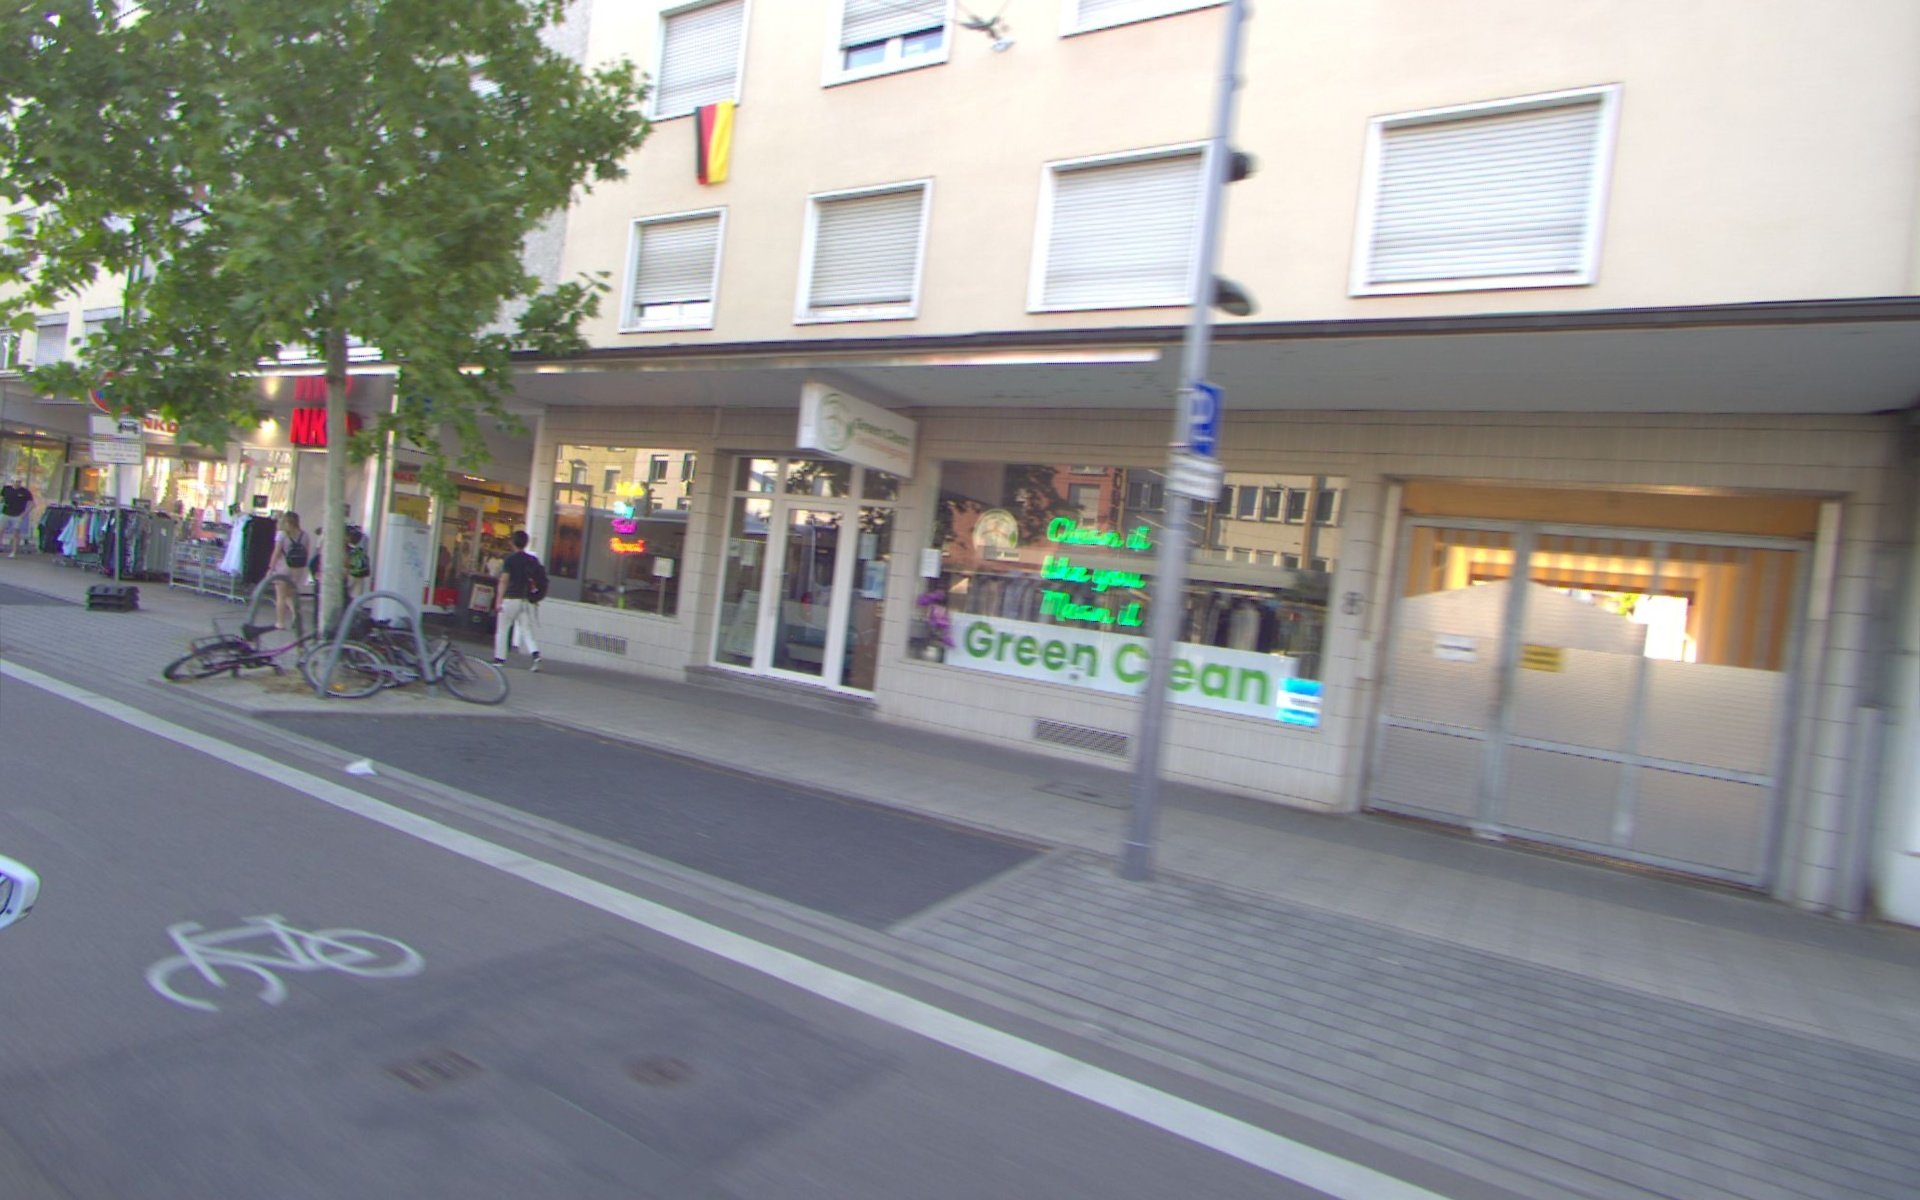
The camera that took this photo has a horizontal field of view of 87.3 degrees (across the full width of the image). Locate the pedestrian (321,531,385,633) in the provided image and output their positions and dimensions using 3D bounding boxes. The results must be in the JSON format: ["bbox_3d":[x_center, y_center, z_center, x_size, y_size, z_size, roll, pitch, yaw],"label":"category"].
[{"bbox_3d":[-8.881,-0.267,14.727,0.601,1.412,0.475,7,1,31],"label":"pedestrian"}]

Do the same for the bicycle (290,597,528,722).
[{"bbox_3d":[-5.033,0.494,9.317,0.780,0.955,1.783,6,4,27],"label":"bicycle"}]

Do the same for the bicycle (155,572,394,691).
[{"bbox_3d":[-6.610,0.259,9.857,0.927,0.636,1.785,-30,2,2],"label":"bicycle"}]

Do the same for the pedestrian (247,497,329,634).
[{"bbox_3d":[-9.409,-0.475,14.089,0.754,1.818,0.565,7,1,32],"label":"pedestrian"}]

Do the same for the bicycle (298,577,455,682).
[{"bbox_3d":[-5.853,0.287,10.209,0.641,0.954,1.695,-2,0,-3],"label":"bicycle"}]

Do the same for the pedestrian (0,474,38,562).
[{"bbox_3d":[-20.536,-1.778,21.728,0.754,1.820,0.723,7,4,31],"label":"pedestrian"}]

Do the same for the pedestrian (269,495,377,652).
[{"bbox_3d":[-7.802,-0.316,12.330,0.754,1.818,0.724,7,1,31],"label":"pedestrian"}]

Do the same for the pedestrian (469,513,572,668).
[{"bbox_3d":[-5.475,-0.112,12.531,0.754,1.818,0.724,7,1,31],"label":"pedestrian"}]
